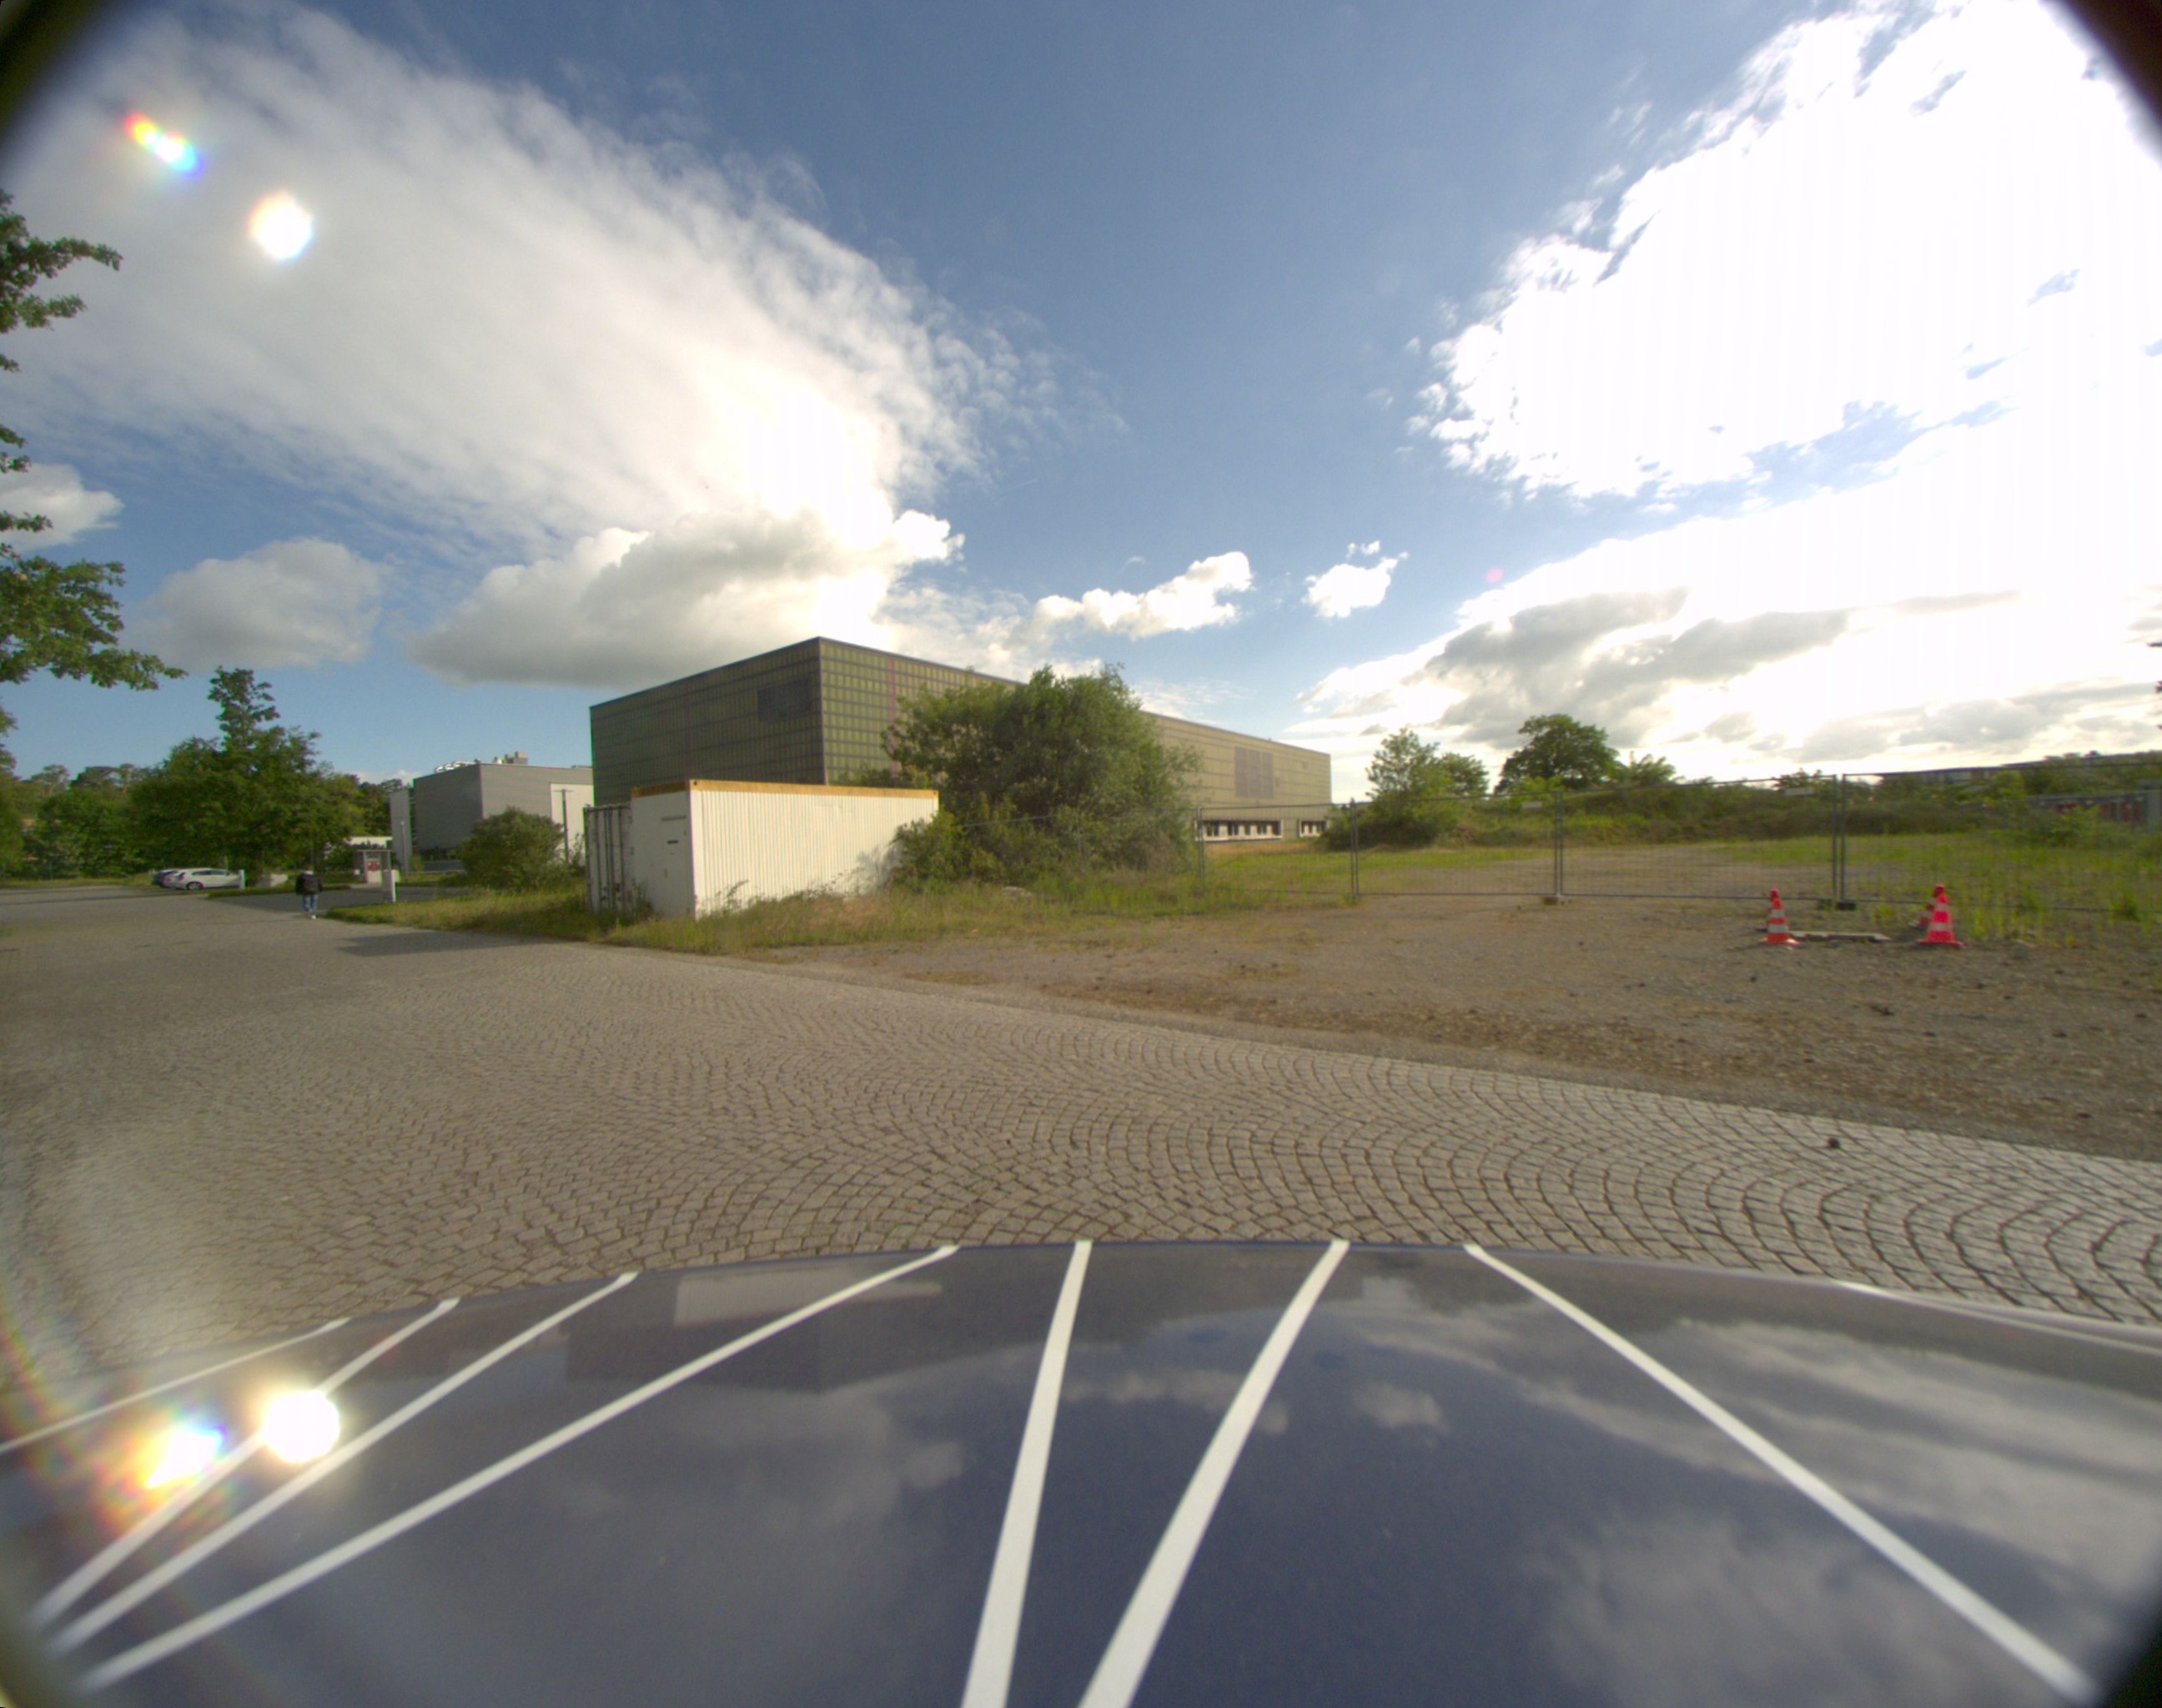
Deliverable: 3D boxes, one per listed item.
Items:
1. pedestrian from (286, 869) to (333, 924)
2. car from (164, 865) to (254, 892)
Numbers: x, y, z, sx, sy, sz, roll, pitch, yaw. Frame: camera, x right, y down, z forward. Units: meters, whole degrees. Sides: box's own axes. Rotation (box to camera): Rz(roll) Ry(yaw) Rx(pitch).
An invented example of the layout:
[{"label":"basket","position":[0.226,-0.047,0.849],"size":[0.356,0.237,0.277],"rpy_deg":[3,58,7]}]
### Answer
[{"label":"pedestrian","position":[-22.909,1.248,22.553],"size":[1.025,1.550,0.869],"rpy_deg":[-1,2,42]},{"label":"car","position":[-60.944,1.663,53.165],"size":[1.994,1.633,4.008],"rpy_deg":[-1,2,41]}]
